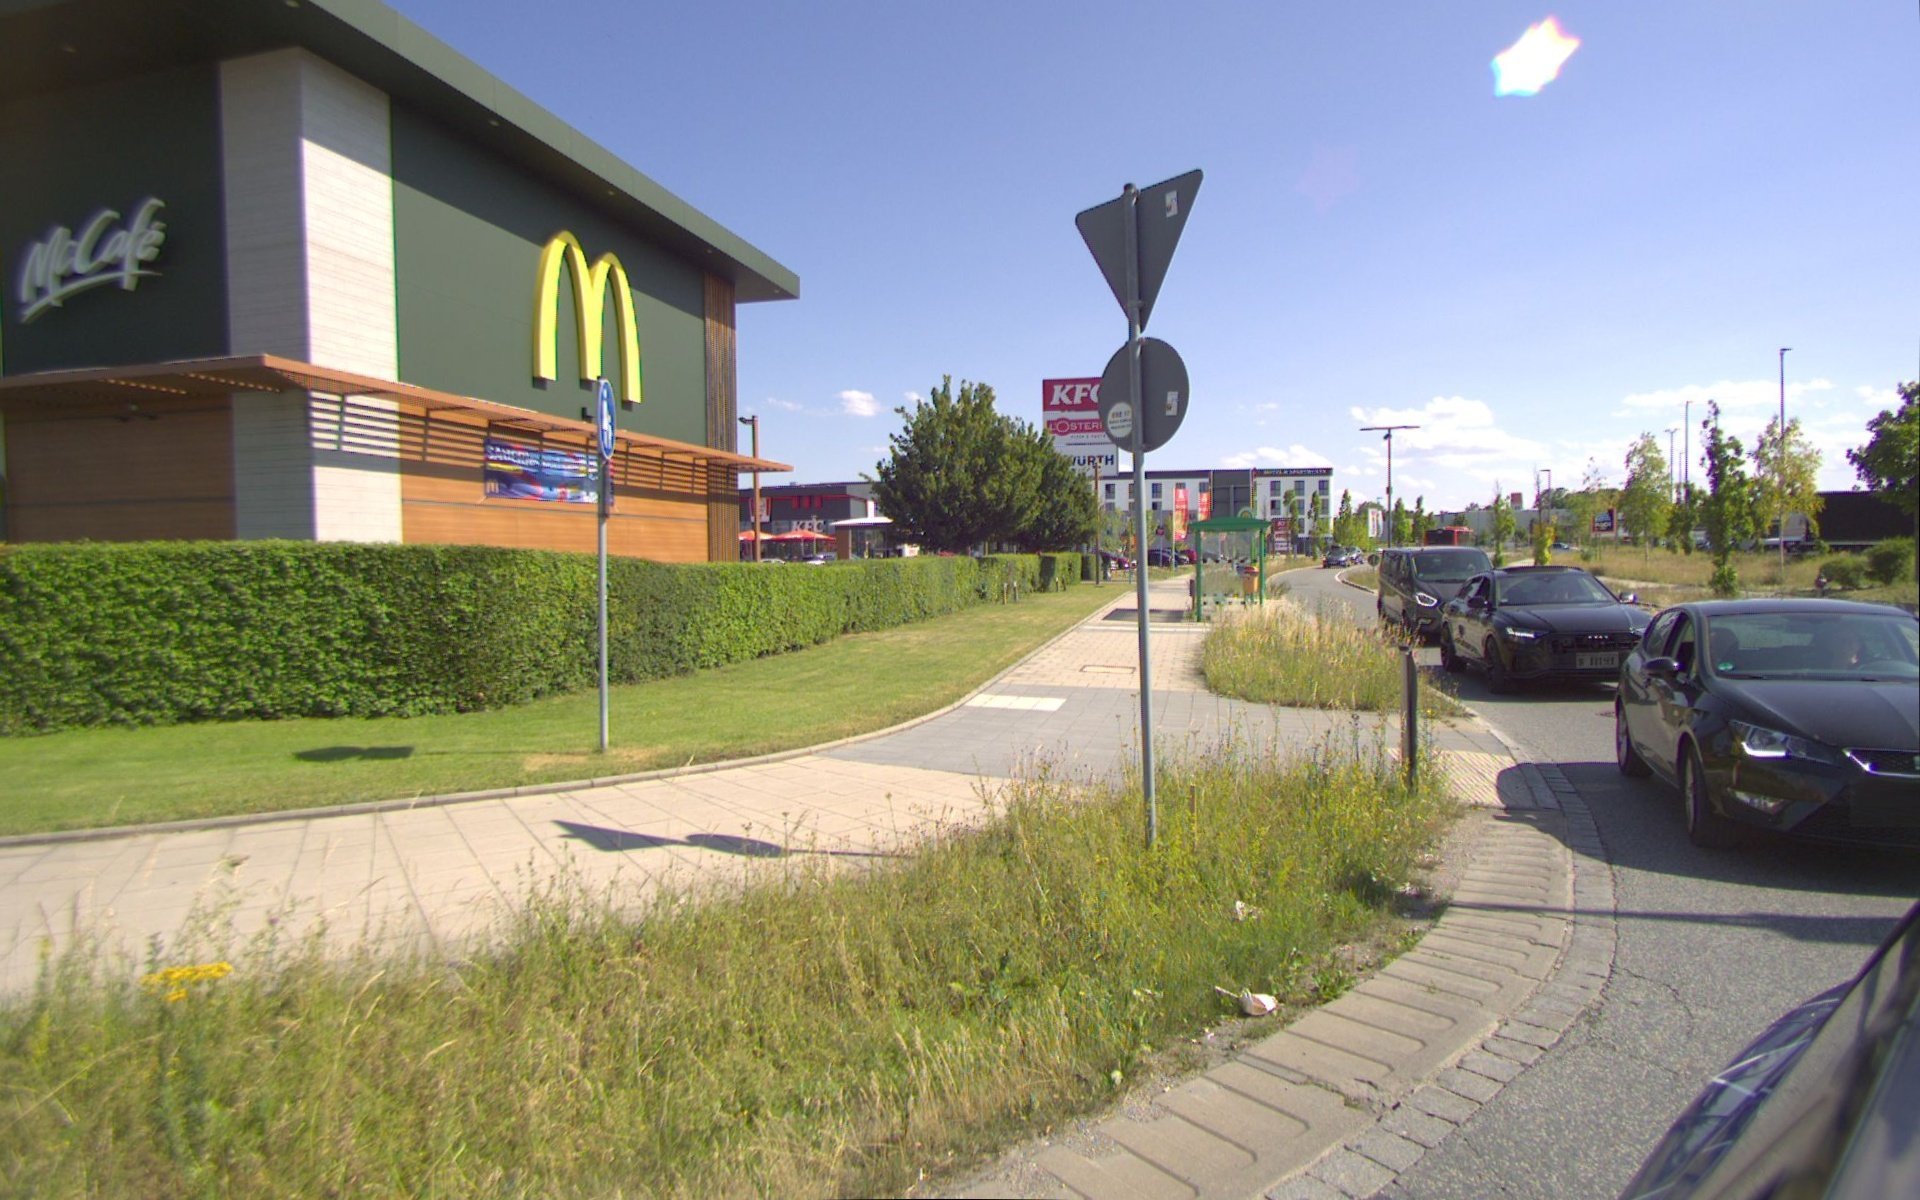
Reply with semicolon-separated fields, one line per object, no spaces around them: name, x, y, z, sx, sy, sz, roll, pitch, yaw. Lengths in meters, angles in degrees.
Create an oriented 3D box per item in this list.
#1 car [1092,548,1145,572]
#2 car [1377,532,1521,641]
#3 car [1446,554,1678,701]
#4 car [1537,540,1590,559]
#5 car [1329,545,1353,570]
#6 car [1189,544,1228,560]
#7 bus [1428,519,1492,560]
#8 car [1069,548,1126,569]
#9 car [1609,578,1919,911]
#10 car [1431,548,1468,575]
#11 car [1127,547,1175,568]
car;13.756;-3.489;88.053;4.151;2.038;1.914;1;3;30
car;10.652;-0.374;22.421;2.052;2.073;4.661;-3;2;17
car;8.356;0.275;14.463;1.837;1.709;3.981;-3;2;17
car;55.800;-4.660;93.578;3.935;1.697;1.594;2;3;45
car;29.963;-3.353;79.528;1.710;1.927;3.972;0;2;22
car;26.656;-5.120;108.457;3.790;1.639;1.740;0;3;29
bus;43.604;-5.206;87.996;2.604;3.281;11.720;1;3;38
car;11.434;-3.446;84.047;4.391;1.673;1.920;0;3;22
car;5.562;0.653;6.499;1.844;1.486;3.966;0;2;26
car;27.464;-2.155;56.856;1.779;1.433;4.345;0;2;25
car;18.203;-4.050;96.292;4.156;1.880;1.783;1;3;33
